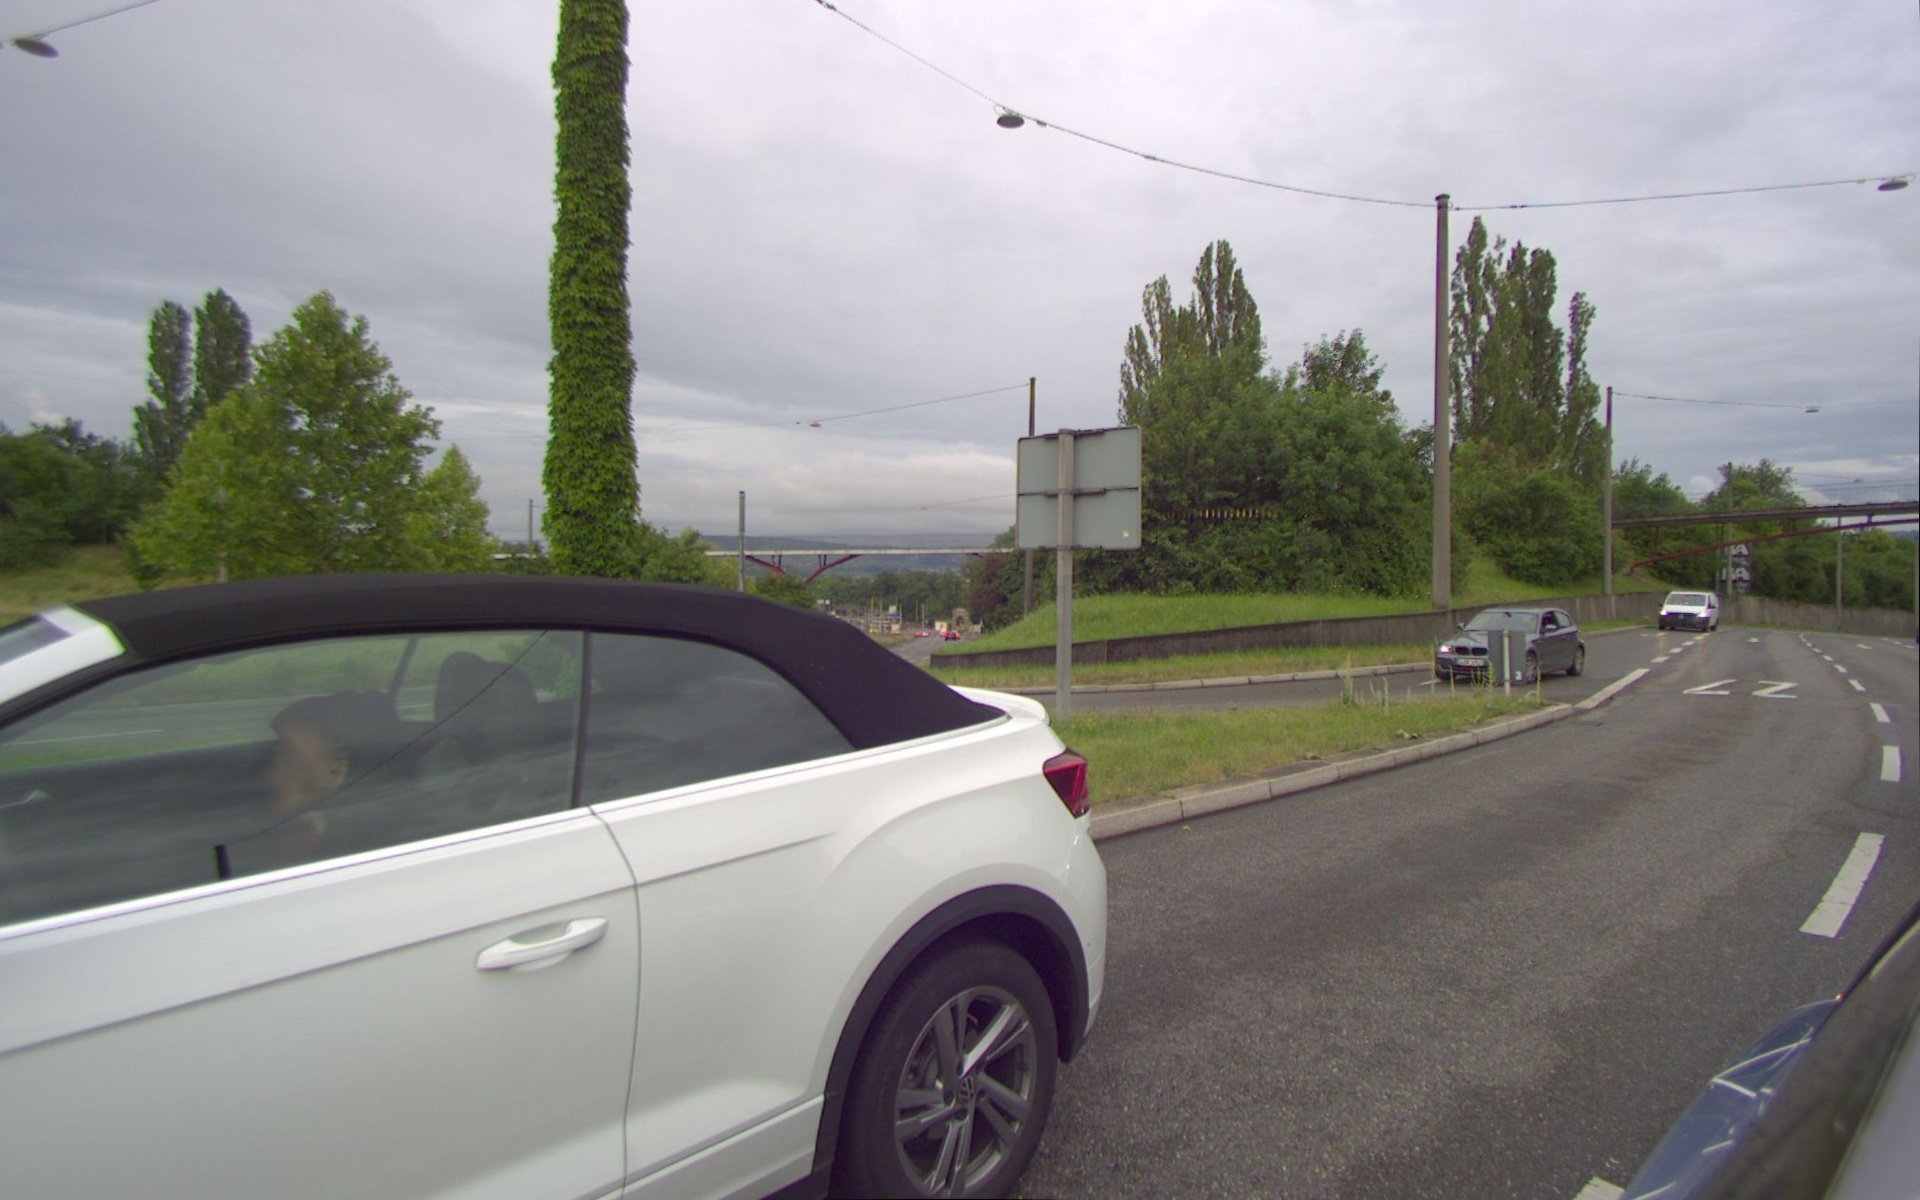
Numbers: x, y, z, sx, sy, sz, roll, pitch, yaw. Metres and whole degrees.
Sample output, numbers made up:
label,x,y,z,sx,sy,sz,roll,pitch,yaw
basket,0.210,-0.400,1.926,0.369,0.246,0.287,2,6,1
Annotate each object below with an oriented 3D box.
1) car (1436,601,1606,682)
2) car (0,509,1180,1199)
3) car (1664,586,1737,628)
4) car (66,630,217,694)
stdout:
label,x,y,z,sx,sy,sz,roll,pitch,yaw
car,11.213,0.760,20.123,4.011,1.438,1.682,0,-1,-41
car,-1.456,0.671,2.080,4.159,1.572,1.714,-1,1,-44
car,35.139,0.297,47.998,4.744,1.871,1.995,-1,0,-44
car,-29.597,2.174,36.747,1.968,2.039,3.989,0,1,10
